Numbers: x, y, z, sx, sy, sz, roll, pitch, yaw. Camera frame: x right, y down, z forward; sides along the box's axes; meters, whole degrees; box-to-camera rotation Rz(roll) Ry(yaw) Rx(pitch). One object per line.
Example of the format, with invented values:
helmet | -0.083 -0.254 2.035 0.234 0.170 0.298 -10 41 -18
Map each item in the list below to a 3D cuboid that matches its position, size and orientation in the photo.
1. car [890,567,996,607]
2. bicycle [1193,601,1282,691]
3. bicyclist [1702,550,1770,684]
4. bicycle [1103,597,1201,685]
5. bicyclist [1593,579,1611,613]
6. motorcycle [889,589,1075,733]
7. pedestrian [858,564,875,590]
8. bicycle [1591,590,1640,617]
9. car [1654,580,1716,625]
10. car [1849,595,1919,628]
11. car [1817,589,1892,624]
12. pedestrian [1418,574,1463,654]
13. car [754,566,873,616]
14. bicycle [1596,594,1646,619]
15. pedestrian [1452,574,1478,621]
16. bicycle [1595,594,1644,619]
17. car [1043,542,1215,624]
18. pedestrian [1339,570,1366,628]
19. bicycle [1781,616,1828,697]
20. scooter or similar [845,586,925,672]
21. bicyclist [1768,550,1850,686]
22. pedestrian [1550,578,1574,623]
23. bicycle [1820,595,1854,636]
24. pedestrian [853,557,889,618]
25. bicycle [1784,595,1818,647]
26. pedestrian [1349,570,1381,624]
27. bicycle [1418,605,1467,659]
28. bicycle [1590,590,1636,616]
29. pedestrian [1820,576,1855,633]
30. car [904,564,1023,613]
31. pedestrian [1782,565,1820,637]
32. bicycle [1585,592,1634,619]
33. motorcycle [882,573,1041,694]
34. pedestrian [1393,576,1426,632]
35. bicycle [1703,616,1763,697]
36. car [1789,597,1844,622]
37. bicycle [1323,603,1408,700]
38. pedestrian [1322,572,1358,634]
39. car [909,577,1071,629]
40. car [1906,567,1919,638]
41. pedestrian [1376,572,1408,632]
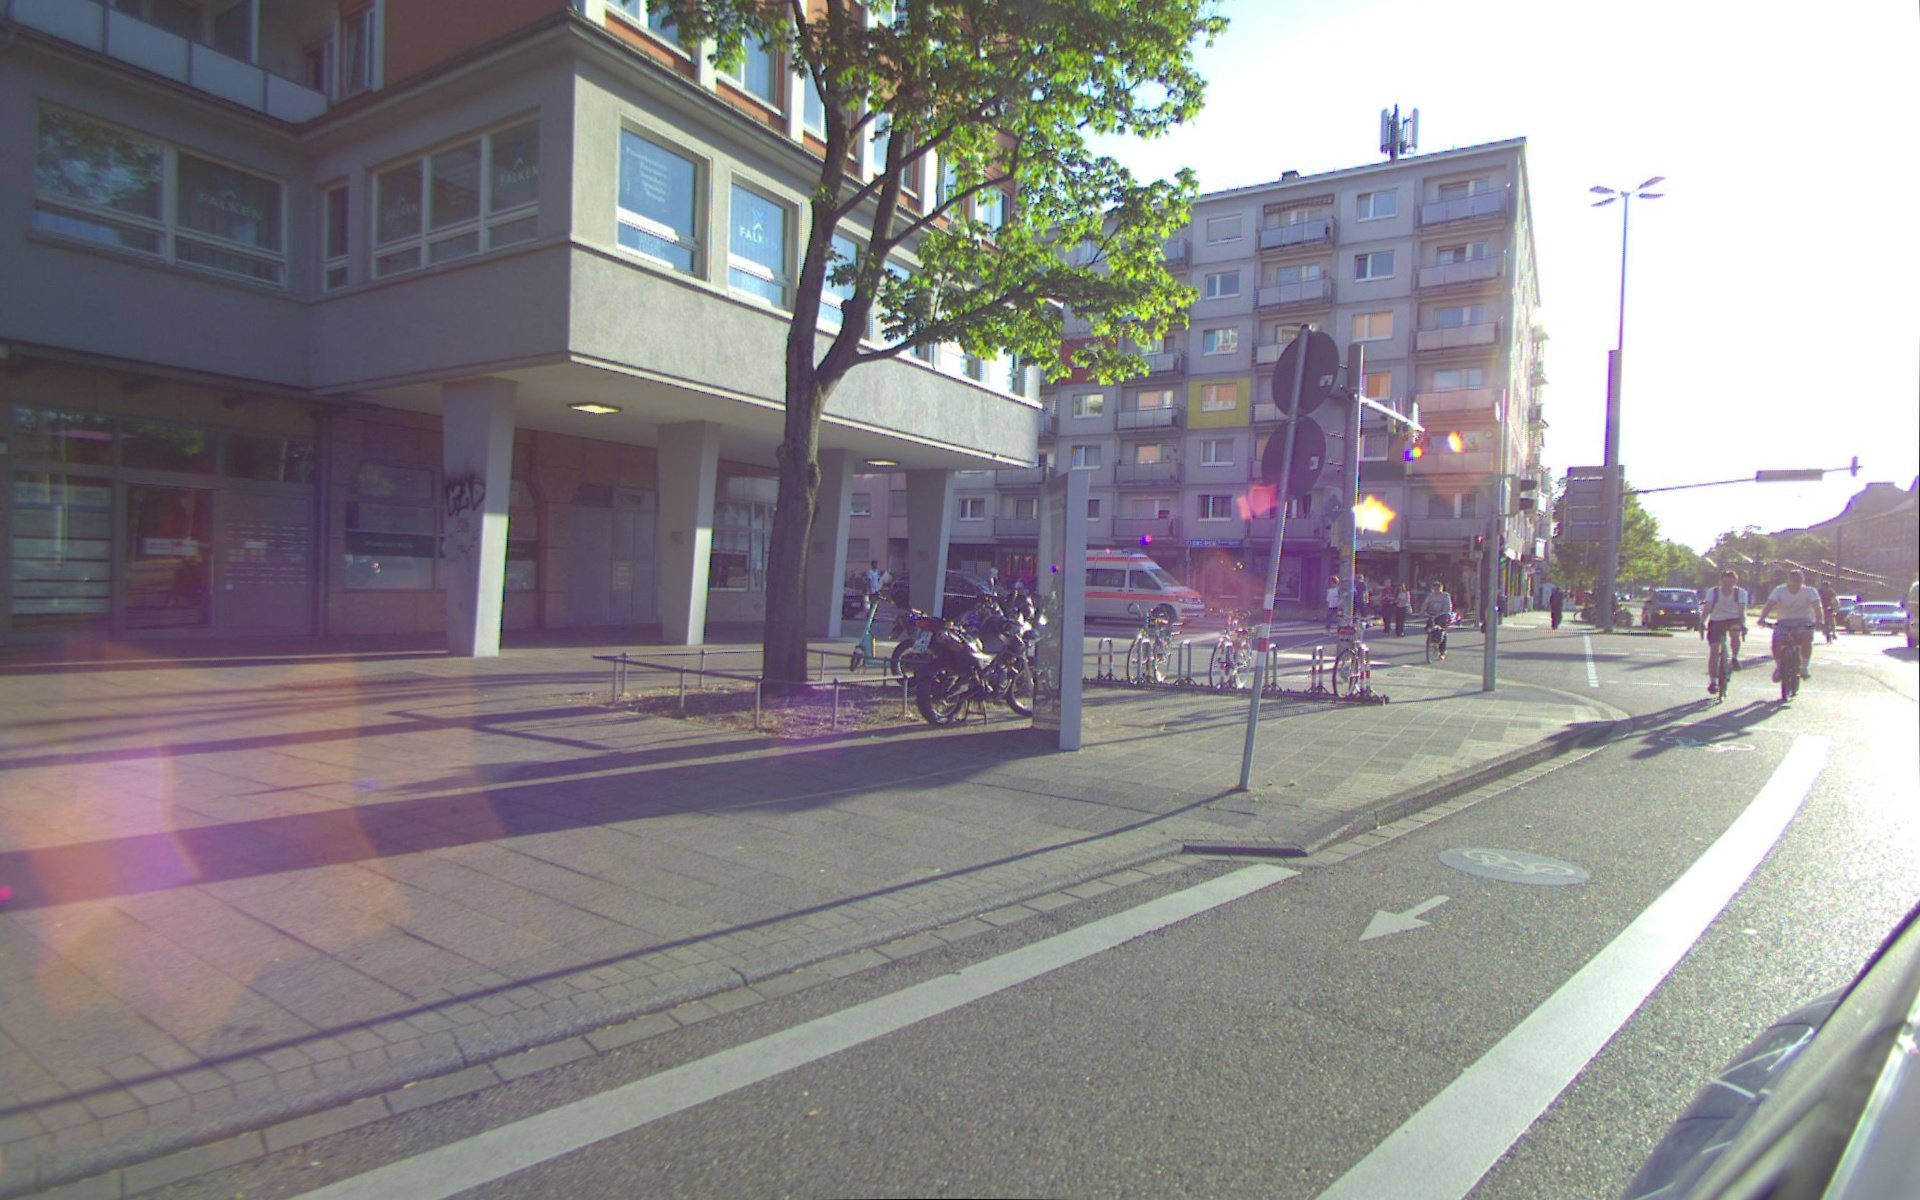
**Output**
car | -0.698 -0.543 40.422 3.972 1.482 1.766 2 1 33
bicycle | 3.888 0.607 14.093 0.642 1.141 1.851 2 0 33
bicyclist | 11.050 0.220 14.406 0.673 1.830 0.979 2 1 41
bicycle | 2.841 0.559 14.784 0.642 1.172 2.099 2 0 33
bicyclist | 35.391 -0.236 55.797 0.739 1.830 1.369 2 1 34
motorcycle | 0.275 0.533 10.000 0.665 1.258 2.171 2 1 38
pedestrian | -5.646 -1.394 61.432 0.722 1.596 0.703 2 1 31
bicycle | 31.617 0.175 48.863 1.858 1.139 0.562 5 3 29
car | 34.308 0.095 48.013 1.928 1.957 4.779 2 1 31
car | 42.523 0.484 46.295 1.827 1.418 4.538 -1 0 29
car | 46.800 0.327 53.062 1.940 1.734 4.801 -1 0 29
pedestrian | 10.020 0.274 21.087 0.674 1.609 0.751 2 3 39
car | -4.934 -0.317 33.915 3.749 1.528 1.735 2 1 34
bicycle | 30.755 0.301 47.102 1.858 1.074 0.601 2 1 30
pedestrian | 17.641 -0.105 35.359 0.680 1.609 0.737 2 1 36
bicycle | 31.041 0.296 47.637 1.858 1.074 0.601 2 1 30
car | 5.511 -0.600 33.250 5.227 2.513 1.904 2 1 32
pedestrian | 11.863 -0.029 30.548 0.566 1.722 0.802 2 1 33
bicycle | 12.044 0.775 14.423 0.478 1.041 1.952 0 0 41
scooter or similar | -1.137 0.430 15.456 1.161 1.270 0.416 1 1 -39
bicyclist | 12.049 0.229 14.360 0.826 1.830 1.041 2 1 41
pedestrian | 23.785 0.019 39.975 0.660 1.726 1.057 2 1 36
bicycle | 26.097 0.443 30.137 0.527 1.173 1.826 1 1 34
pedestrian | -2.653 -0.368 30.204 0.814 1.778 0.632 2 1 35
bicycle | 19.795 0.464 23.814 0.528 1.173 1.820 1 1 43
pedestrian | 13.462 -0.106 33.626 0.780 1.722 1.015 2 1 33
bicycle | 10.112 0.642 21.166 0.519 0.992 1.825 2 3 38
bicycle | 32.983 0.157 51.153 1.858 1.139 0.562 5 3 29
pedestrian | 26.079 0.114 30.094 0.675 1.669 0.890 1 0 35
car | 0.094 -0.433 36.345 4.053 1.590 1.579 2 1 31
pedestrian | 19.727 0.014 23.731 0.638 1.669 0.830 1 0 43
bicycle | 31.020 0.272 48.355 1.858 1.139 0.601 5 3 29
motorcycle | -0.008 0.387 13.084 2.041 1.424 0.749 2 1 40
pedestrian | 12.563 0.098 28.277 0.679 1.518 0.738 2 1 33
bicycle | 11.040 0.766 14.436 0.574 1.041 1.829 0 0 41
car | 49.689 0.533 58.796 1.802 1.418 3.876 -1 0 31
bicycle | 5.252 0.626 13.046 0.642 1.141 1.851 2 0 33
pedestrian | 10.590 0.066 28.197 0.725 1.683 0.895 2 1 33
car | 0.869 0.051 30.478 4.645 1.357 1.818 2 1 34
car | 27.267 0.104 27.137 1.908 2.015 4.888 2 1 33
pedestrian | 12.501 0.045 29.268 0.679 1.683 0.738 2 1 33
